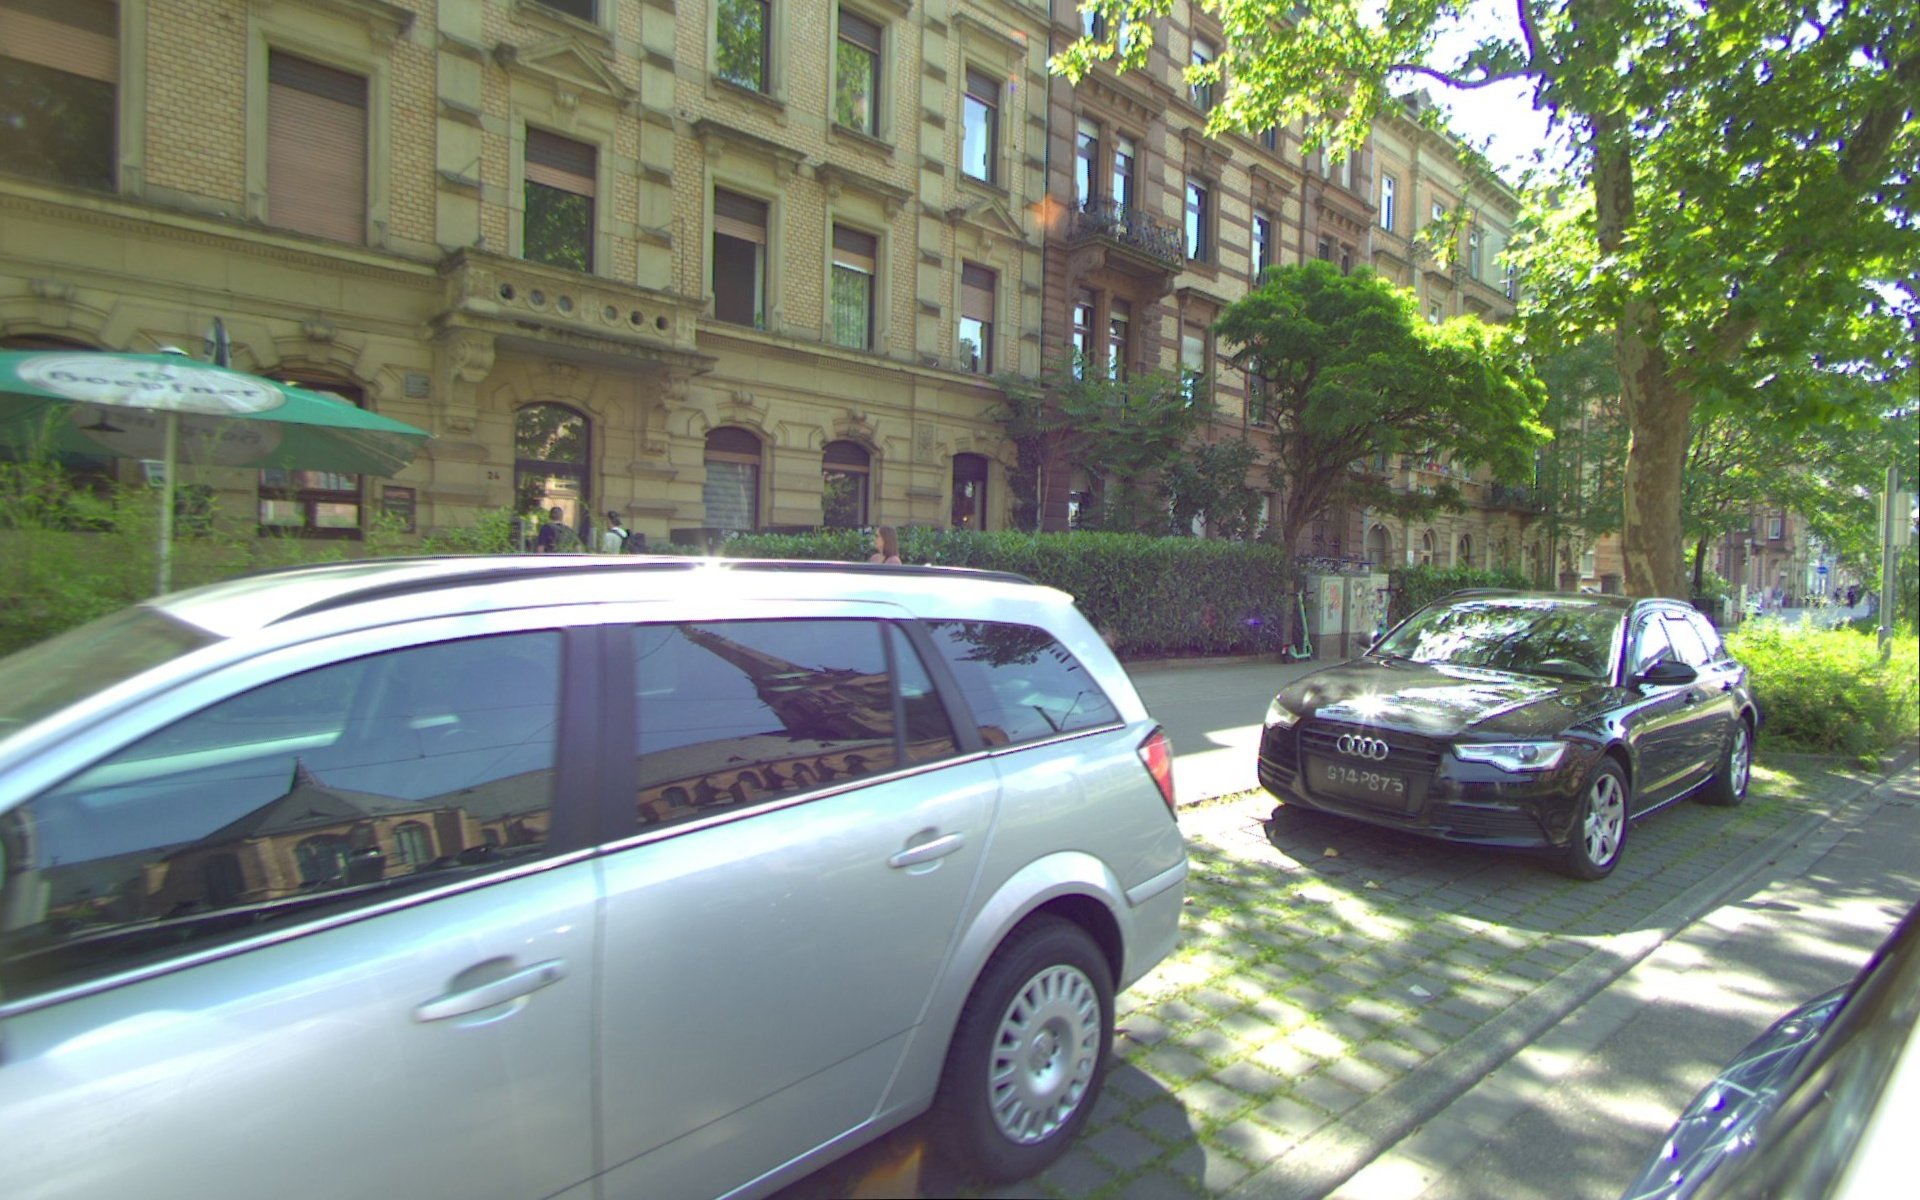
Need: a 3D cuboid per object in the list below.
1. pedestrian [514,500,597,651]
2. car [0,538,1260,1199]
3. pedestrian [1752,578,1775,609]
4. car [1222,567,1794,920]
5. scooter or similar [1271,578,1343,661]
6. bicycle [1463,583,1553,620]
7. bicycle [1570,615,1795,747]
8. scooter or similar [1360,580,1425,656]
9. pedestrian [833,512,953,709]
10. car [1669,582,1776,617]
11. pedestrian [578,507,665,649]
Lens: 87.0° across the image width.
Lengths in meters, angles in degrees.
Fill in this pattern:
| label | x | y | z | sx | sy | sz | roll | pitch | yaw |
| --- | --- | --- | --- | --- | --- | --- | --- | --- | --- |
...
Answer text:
| label | x | y | z | sx | sy | sz | roll | pitch | yaw |
| --- | --- | --- | --- | --- | --- | --- | --- | --- | --- |
| pedestrian | -5.237 | -0.333 | 13.092 | 0.725 | 1.874 | 0.851 | 0 | 4 | -41 |
| car | -1.276 | 0.650 | 2.223 | 1.834 | 1.526 | 4.420 | 3 | 3 | 44 |
| pedestrian | 45.534 | -0.387 | 57.347 | 0.951 | 1.740 | 0.796 | 0 | 2 | -42 |
| car | 3.837 | 0.602 | 6.668 | 4.563 | 1.526 | 1.837 | 0 | 2 | -42 |
| scooter or similar | 5.587 | 0.294 | 16.275 | 1.125 | 1.263 | 0.583 | 0 | 2 | -41 |
| bicycle | 18.207 | 0.030 | 33.701 | 2.559 | 1.125 | 1.101 | 3 | 2 | 30 |
| bicycle | 6.750 | 0.734 | 9.521 | 1.615 | 1.102 | 0.469 | 2 | 1 | 16 |
| scooter or similar | 7.675 | 0.302 | 17.952 | 1.124 | 1.298 | 0.583 | 0 | 2 | -40 |
| pedestrian | -0.655 | 0.071 | 9.865 | 0.838 | 1.806 | 0.737 | 0 | 4 | -42 |
| car | 37.300 | -0.046 | 49.542 | 4.075 | 1.535 | 1.861 | 3 | 2 | 40 |
| pedestrian | -4.510 | -0.307 | 13.478 | 0.849 | 1.806 | 0.727 | 5 | 4 | 41 |
